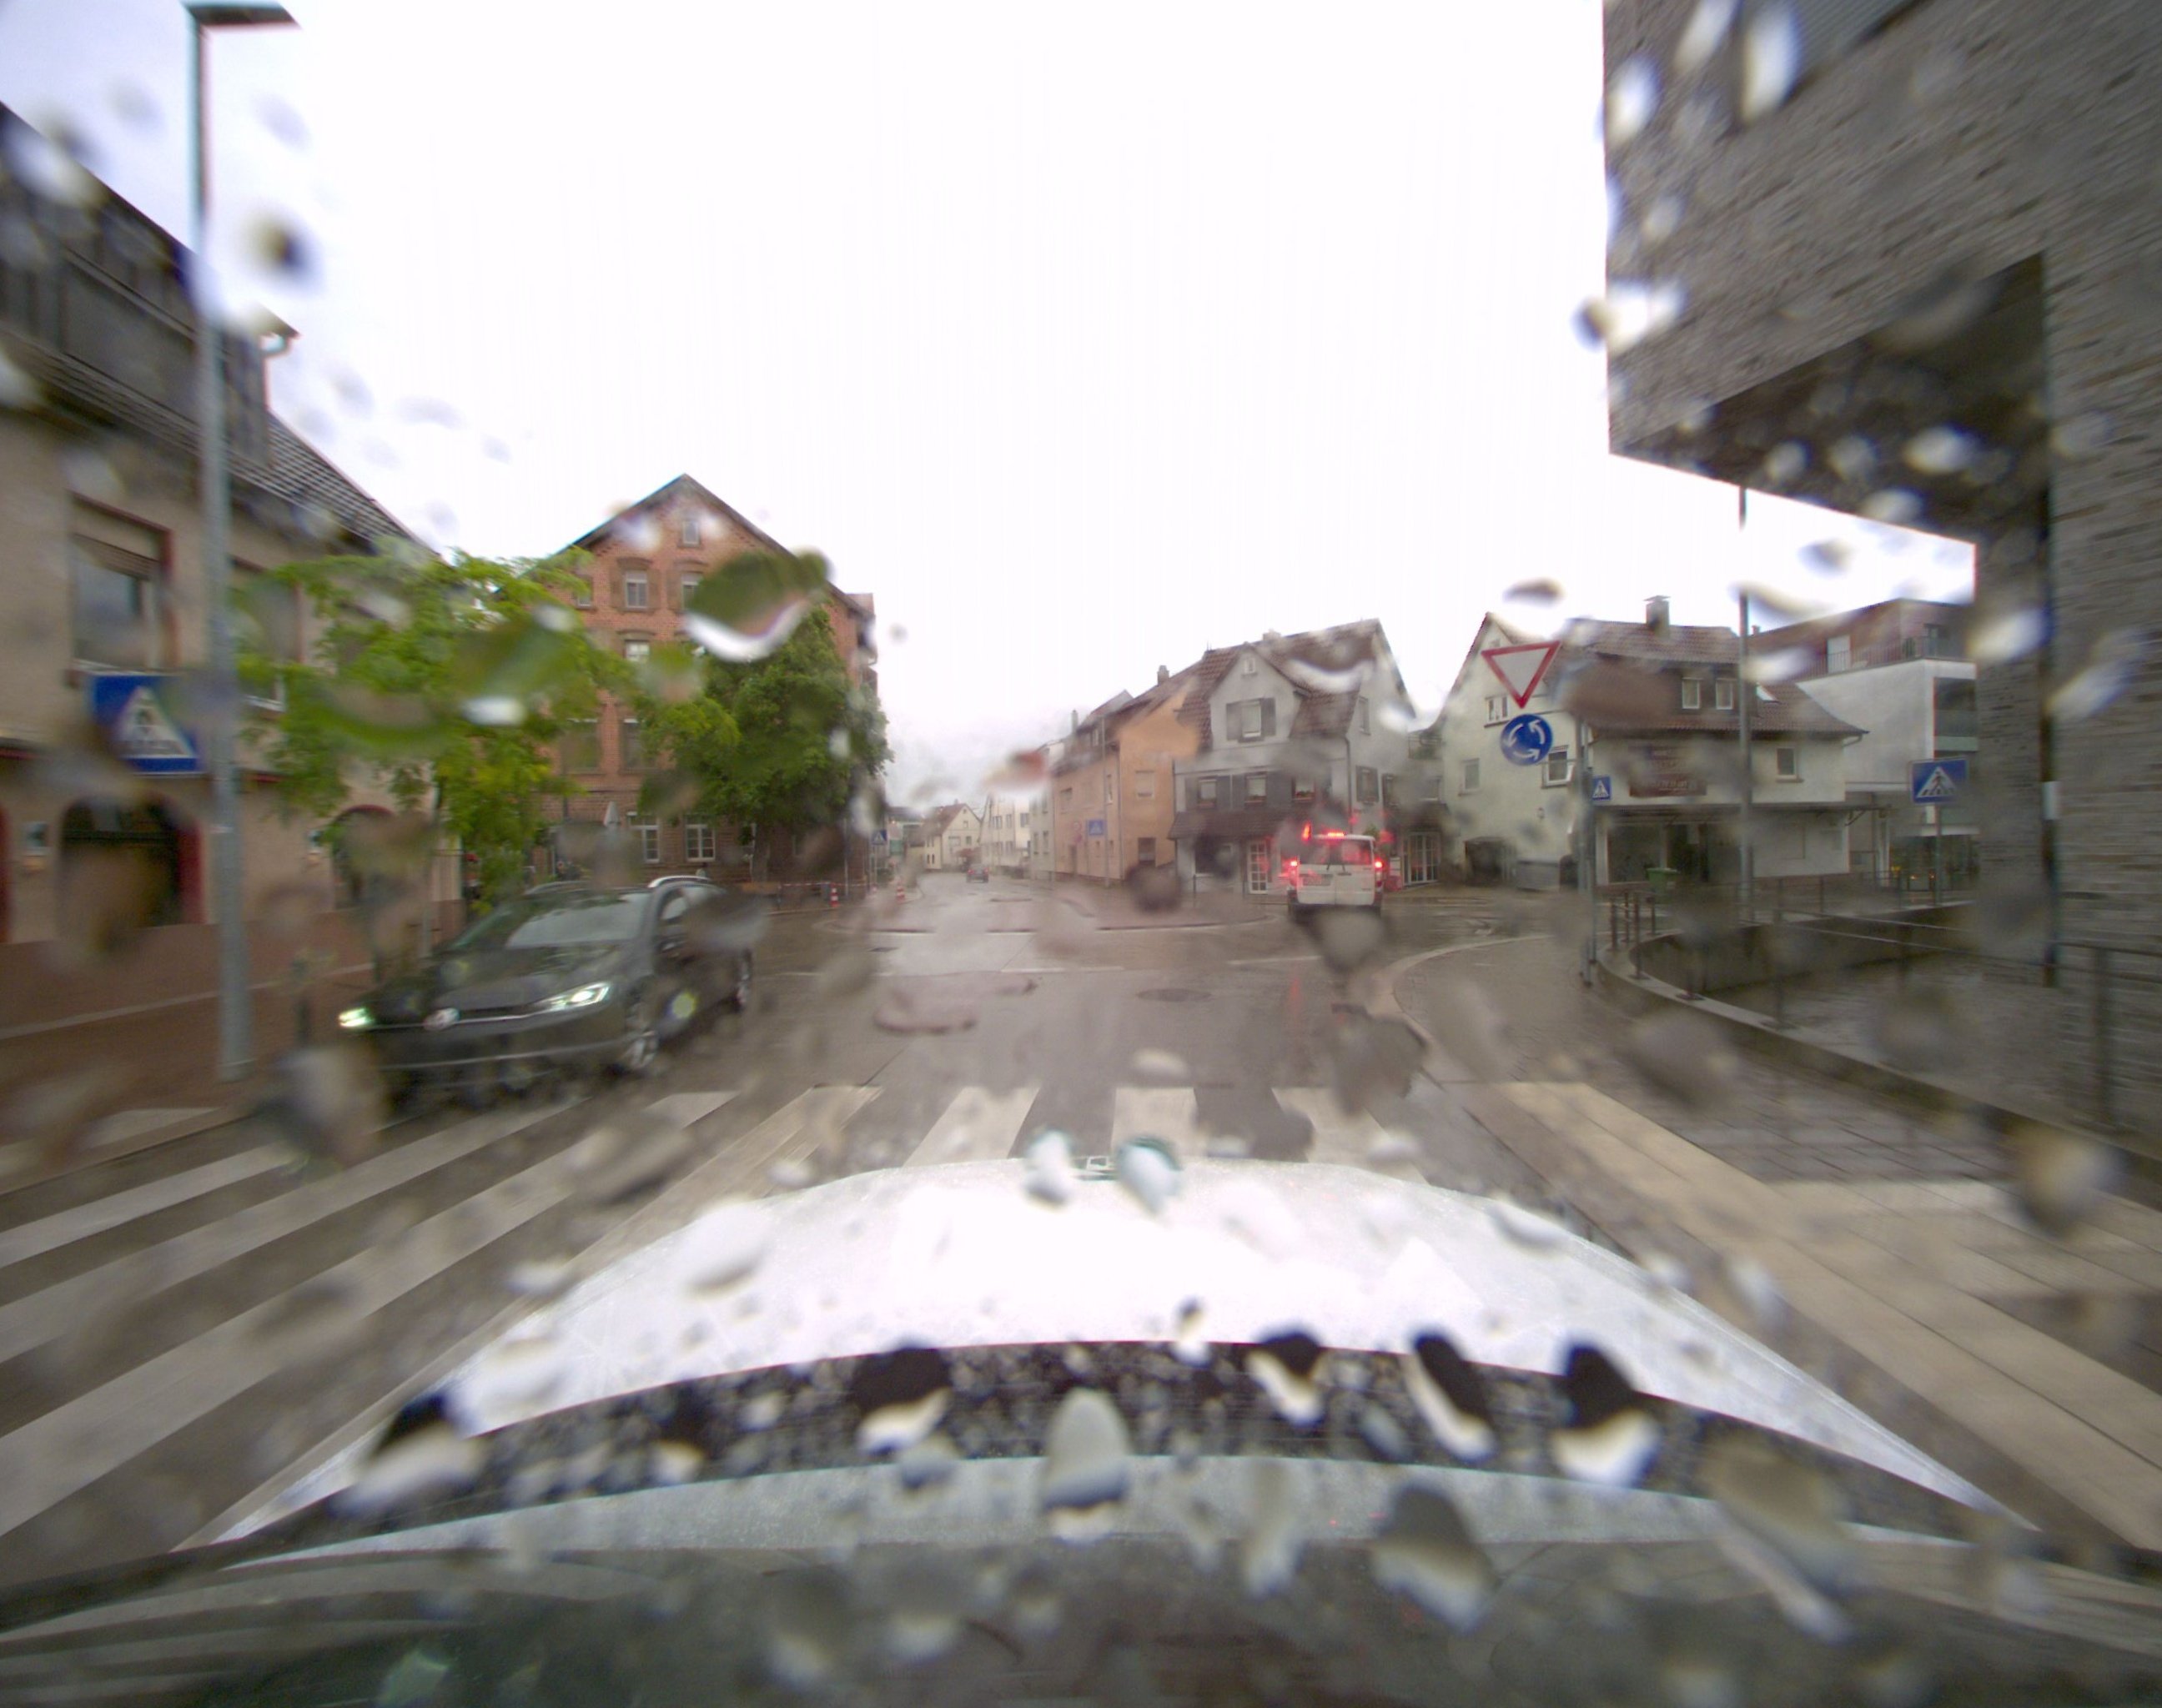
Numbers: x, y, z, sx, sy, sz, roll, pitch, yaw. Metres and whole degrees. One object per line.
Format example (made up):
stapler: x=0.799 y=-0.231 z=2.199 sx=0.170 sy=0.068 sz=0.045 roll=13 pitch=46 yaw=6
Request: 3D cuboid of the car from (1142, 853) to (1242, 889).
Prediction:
car: x=5.014 y=0.762 z=36.952 sx=3.999 sy=1.486 sz=1.987 roll=-1 pitch=-2 yaw=-19

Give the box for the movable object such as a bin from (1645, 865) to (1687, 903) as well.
movable object such as a bin: x=17.597 y=0.882 z=24.497 sx=0.761 sy=1.081 sz=0.685 roll=0 pitch=2 yaw=-21

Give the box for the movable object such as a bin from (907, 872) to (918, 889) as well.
movable object such as a bin: x=-11.353 y=1.790 z=54.824 sx=0.628 sy=1.173 sz=0.757 roll=0 pitch=-1 yaw=-17

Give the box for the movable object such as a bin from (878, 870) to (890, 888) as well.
movable object such as a bin: x=-12.807 y=1.625 z=52.993 sx=0.750 sy=1.169 sz=0.628 roll=0 pitch=-1 yaw=-18

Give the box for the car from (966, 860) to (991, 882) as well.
car: x=-8.458 y=1.416 z=66.949 sx=1.971 sy=1.679 sz=4.056 roll=-1 pitch=-2 yaw=-8

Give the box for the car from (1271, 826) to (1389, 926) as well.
car: x=5.520 y=0.483 z=18.198 sx=2.136 sy=1.899 sz=4.946 roll=-2 pitch=-2 yaw=16

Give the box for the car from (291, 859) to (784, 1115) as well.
car: x=-4.191 y=0.830 z=7.333 sx=1.784 sy=1.508 sz=4.459 roll=-2 pitch=0 yaw=-6

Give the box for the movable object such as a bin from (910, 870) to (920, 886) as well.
movable object such as a bin: x=-12.105 y=1.767 z=59.284 sx=0.656 sy=1.169 sz=0.777 roll=0 pitch=-1 yaw=-17

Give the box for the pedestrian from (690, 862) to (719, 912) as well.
pedestrian: x=-14.611 y=1.277 z=31.606 sx=0.841 sy=1.886 sz=0.821 roll=0 pitch=-1 yaw=-14
